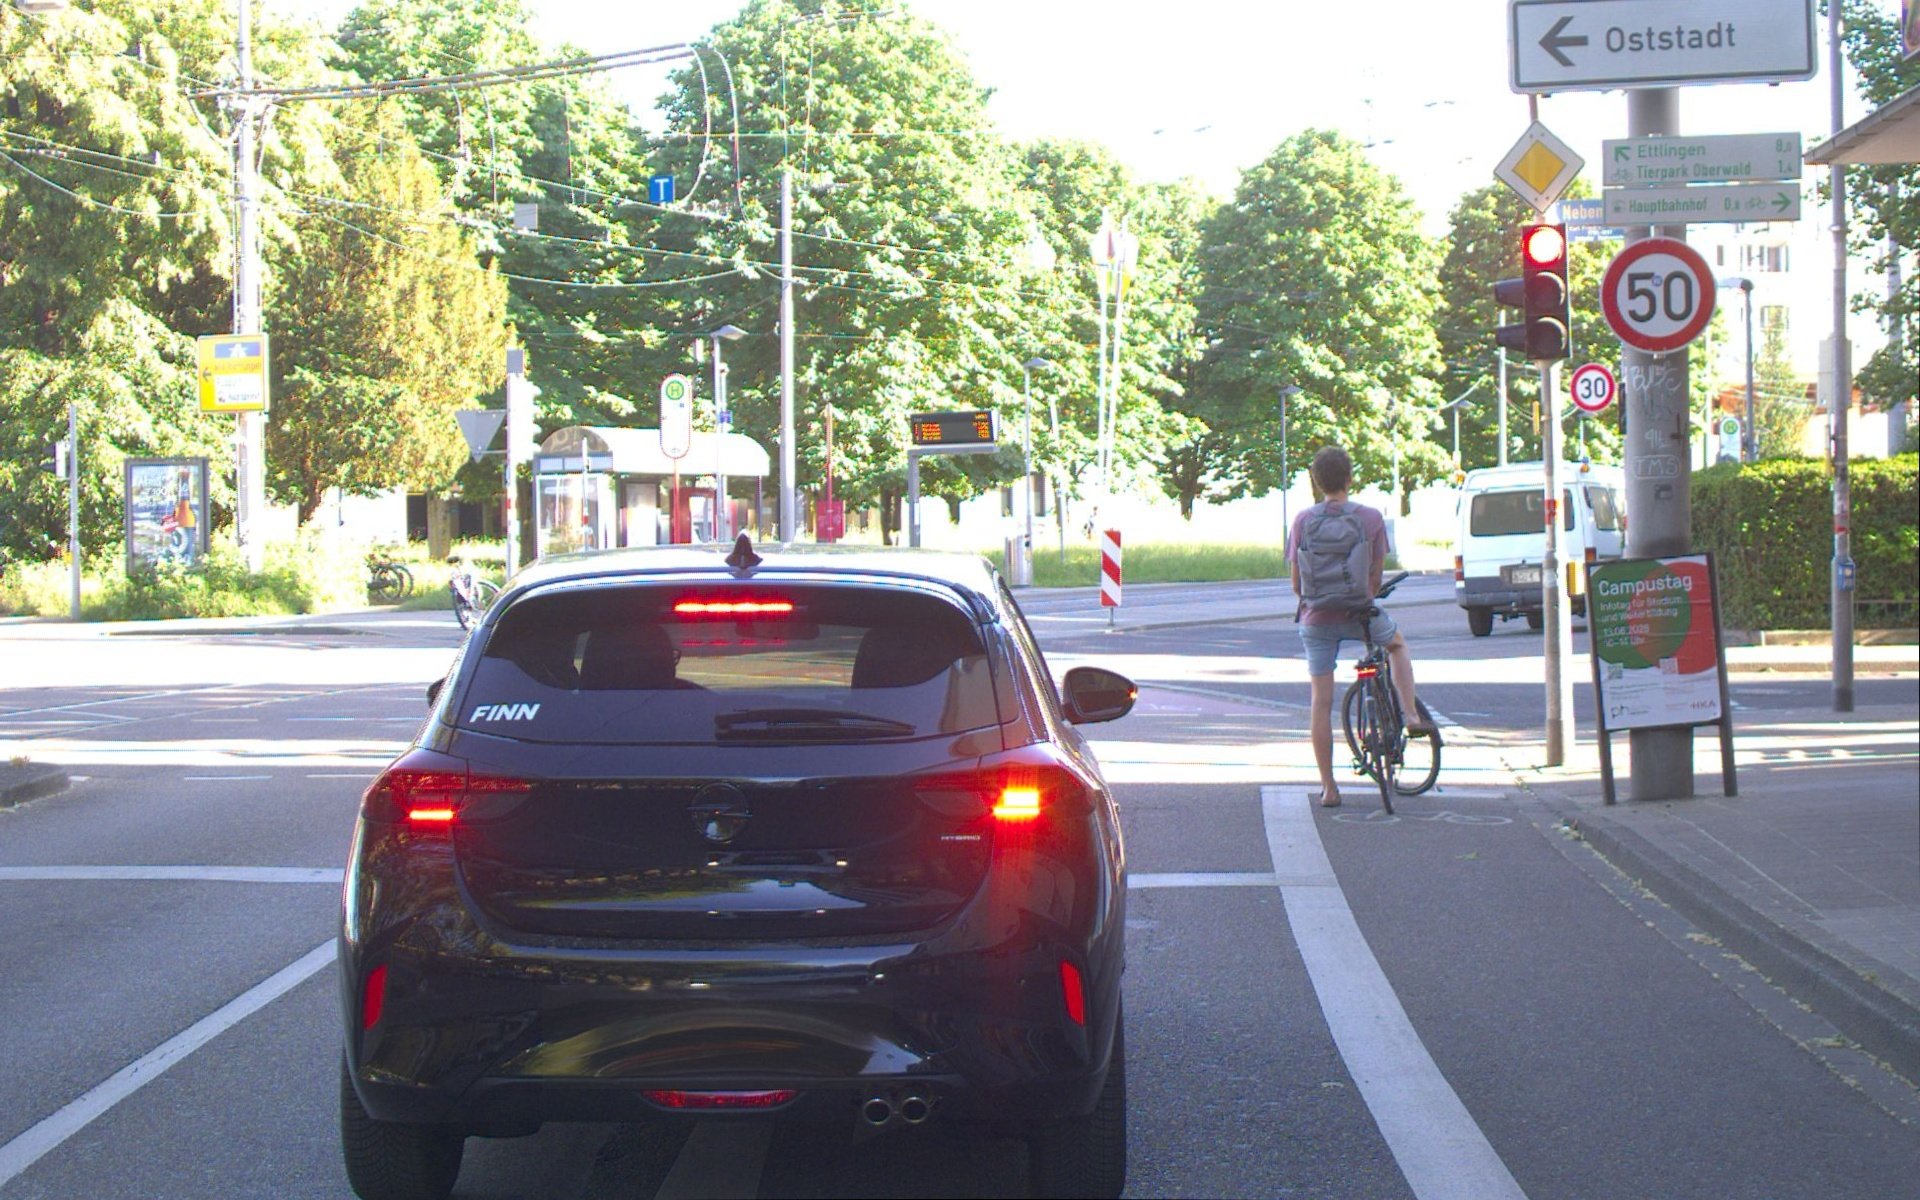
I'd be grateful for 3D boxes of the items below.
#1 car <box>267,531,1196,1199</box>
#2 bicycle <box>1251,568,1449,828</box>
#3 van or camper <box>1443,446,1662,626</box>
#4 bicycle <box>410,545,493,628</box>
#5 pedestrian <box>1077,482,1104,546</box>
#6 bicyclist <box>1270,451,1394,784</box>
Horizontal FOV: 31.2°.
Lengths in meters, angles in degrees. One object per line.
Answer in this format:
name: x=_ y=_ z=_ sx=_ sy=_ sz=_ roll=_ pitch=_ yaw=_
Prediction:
car: x=-0.477 y=0.563 z=8.820 sx=1.840 sy=1.457 sz=3.984 roll=0 pitch=1 yaw=-1
bicycle: x=2.050 y=0.470 z=17.844 sx=0.753 sy=1.231 sz=2.014 roll=0 pitch=1 yaw=14
van or camper: x=8.029 y=-0.843 z=46.293 sx=2.031 sy=2.302 sz=4.535 roll=1 pitch=1 yaw=21
bicycle: x=-6.803 y=-0.197 z=46.062 sx=0.796 sy=1.061 sz=2.185 roll=0 pitch=1 yaw=-1
pedestrian: x=3.858 y=-2.534 z=101.577 sx=0.604 sy=1.865 sz=0.519 roll=1 pitch=0 yaw=-36
bicyclist: x=1.926 y=0.084 z=17.750 sx=0.534 sy=1.686 sz=0.567 roll=0 pitch=1 yaw=17
